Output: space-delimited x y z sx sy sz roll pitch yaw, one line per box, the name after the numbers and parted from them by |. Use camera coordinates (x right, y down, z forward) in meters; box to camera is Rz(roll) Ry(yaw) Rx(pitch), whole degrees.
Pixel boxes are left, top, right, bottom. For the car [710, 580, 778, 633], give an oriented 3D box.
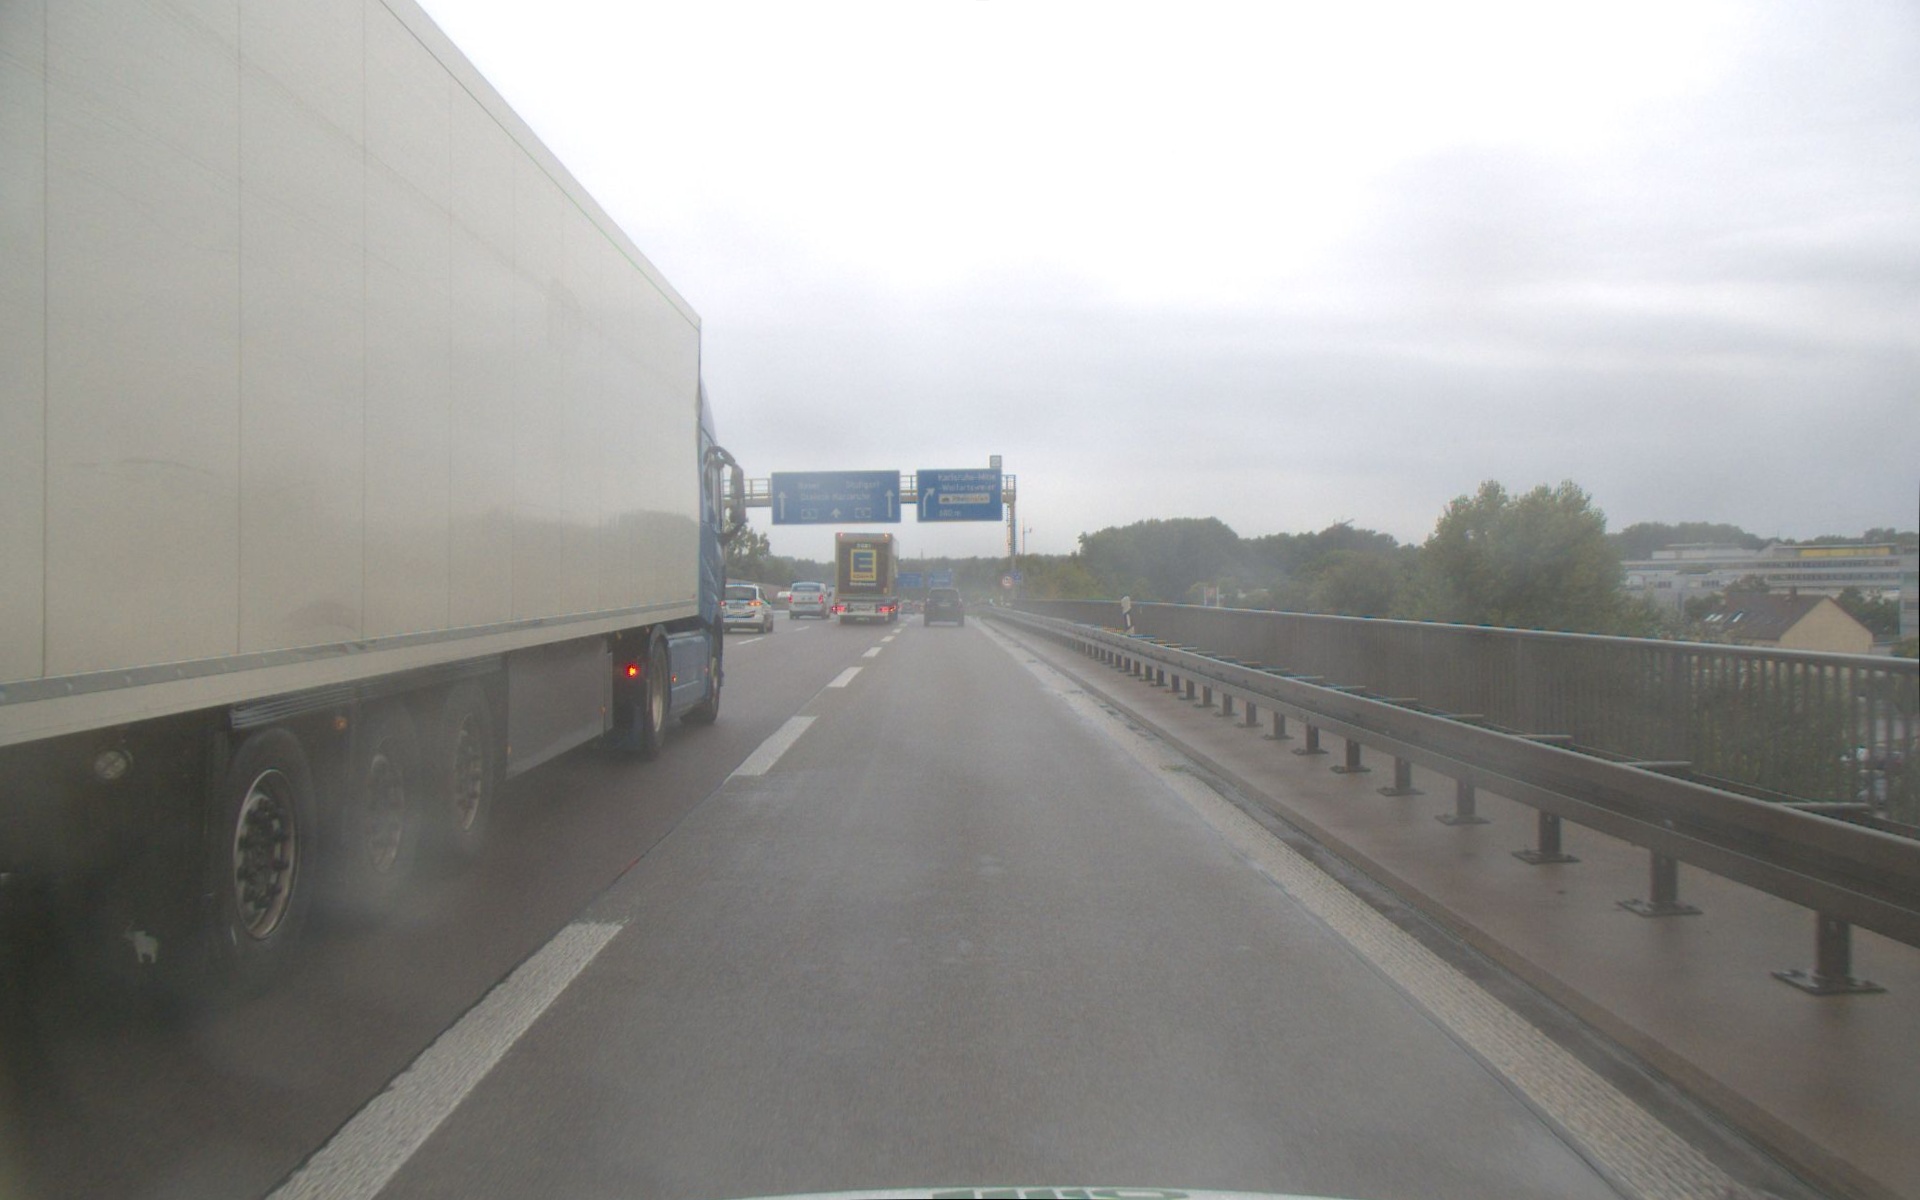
-7.499 0.240 57.755 1.855 1.754 3.999 1 -1 -1 | car

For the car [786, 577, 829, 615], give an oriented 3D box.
-8.251 -0.183 89.886 2.007 1.983 3.999 1 -1 -1 | car

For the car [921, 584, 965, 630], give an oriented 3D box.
-0.730 0.323 73.871 1.858 1.983 4.000 1 -1 0 | car

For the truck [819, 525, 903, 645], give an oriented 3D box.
-4.583 -0.606 78.687 3.462 5.274 9.890 1 -1 -1 | truck

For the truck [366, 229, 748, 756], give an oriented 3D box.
-3.676 -0.886 16.606 2.295 4.230 6.345 1 0 -1 | truck

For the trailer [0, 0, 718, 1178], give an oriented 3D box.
-3.509 -0.838 9.910 2.295 4.230 14.822 1 0 -2 | trailer
